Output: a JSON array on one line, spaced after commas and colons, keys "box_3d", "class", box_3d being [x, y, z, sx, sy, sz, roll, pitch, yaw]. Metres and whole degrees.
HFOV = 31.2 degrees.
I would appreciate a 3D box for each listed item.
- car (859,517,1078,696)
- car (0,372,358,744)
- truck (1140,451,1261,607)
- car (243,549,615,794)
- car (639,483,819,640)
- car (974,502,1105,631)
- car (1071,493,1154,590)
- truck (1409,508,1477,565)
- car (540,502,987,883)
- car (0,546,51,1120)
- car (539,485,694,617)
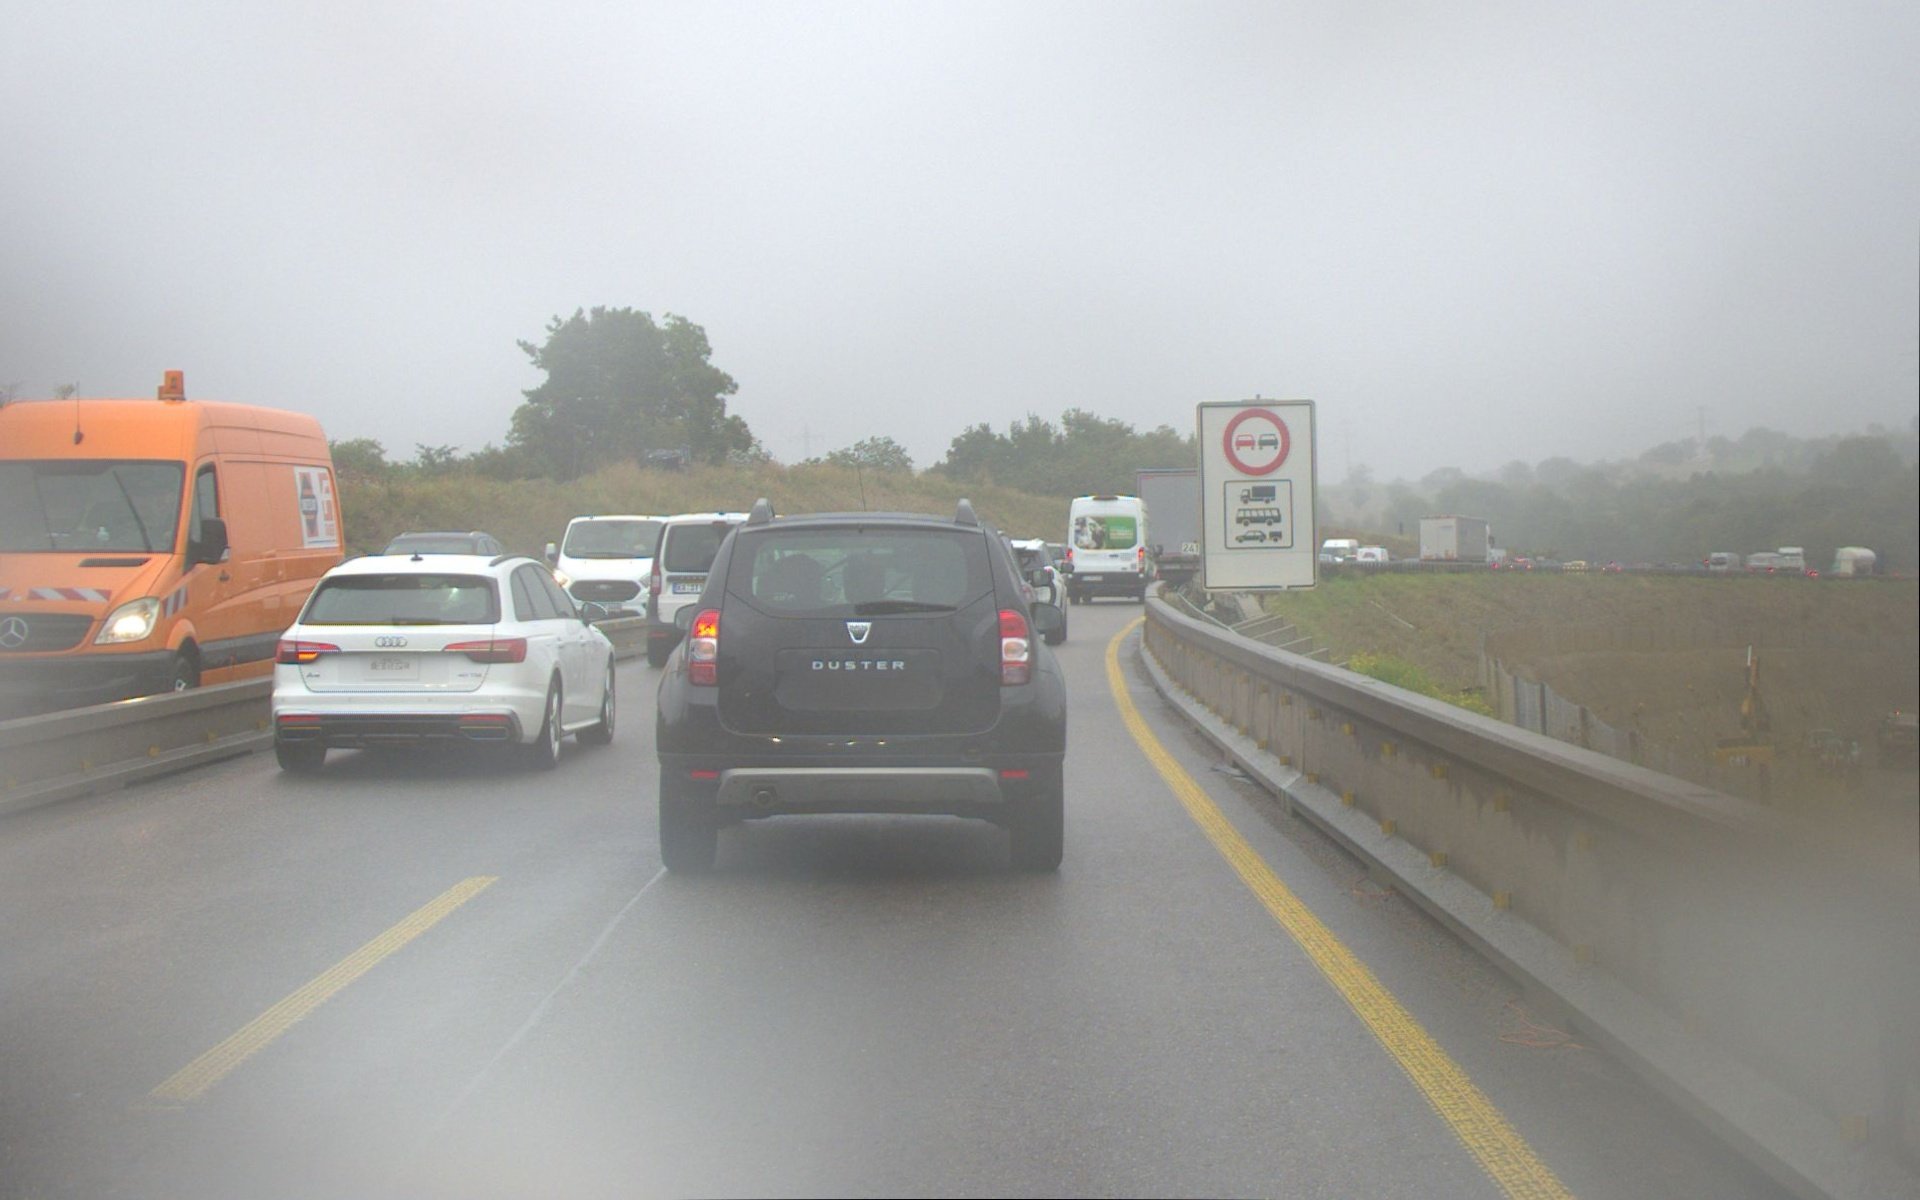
[{"box_3d": [0.102, 0.043, 30.839, 1.826, 1.494, 4.000, 0, 0, 1], "class": "car"}, {"box_3d": [-6.395, -0.379, 27.275, 2.054, 2.568, 7.021, 0, 1, 0], "class": "car"}, {"box_3d": [8.284, -2.351, 117.262, 3.544, 5.060, 10.439, 0, 0, 7], "class": "truck"}, {"box_3d": [-3.469, 0.429, 23.137, 1.826, 1.494, 4.000, 0, 0, 1], "class": "car"}, {"box_3d": [-2.762, -0.457, 41.882, 1.826, 1.809, 4.000, 0, 0, 1], "class": "car"}, {"box_3d": [1.207, -0.486, 50.743, 1.826, 1.809, 4.000, 0, 0, 3], "class": "car"}, {"box_3d": [3.970, -1.496, 89.204, 1.827, 2.429, 4.157, 0, 0, 7], "class": "car"}, {"box_3d": [32.574, -4.323, 231.514, 3.474, 3.702, 8.412, -1, 1, 15], "class": "truck"}, {"box_3d": [-0.810, 0.376, 16.411, 1.826, 1.585, 4.000, 0, 0, 1], "class": "car"}, {"box_3d": [-3.333, 0.707, 6.463, 1.735, 1.457, 5.630, 0, 3, 0], "class": "car"}, {"box_3d": [-5.422, -0.819, 54.835, 1.993, 1.992, 4.970, 0, 2, 0], "class": "car"}]
